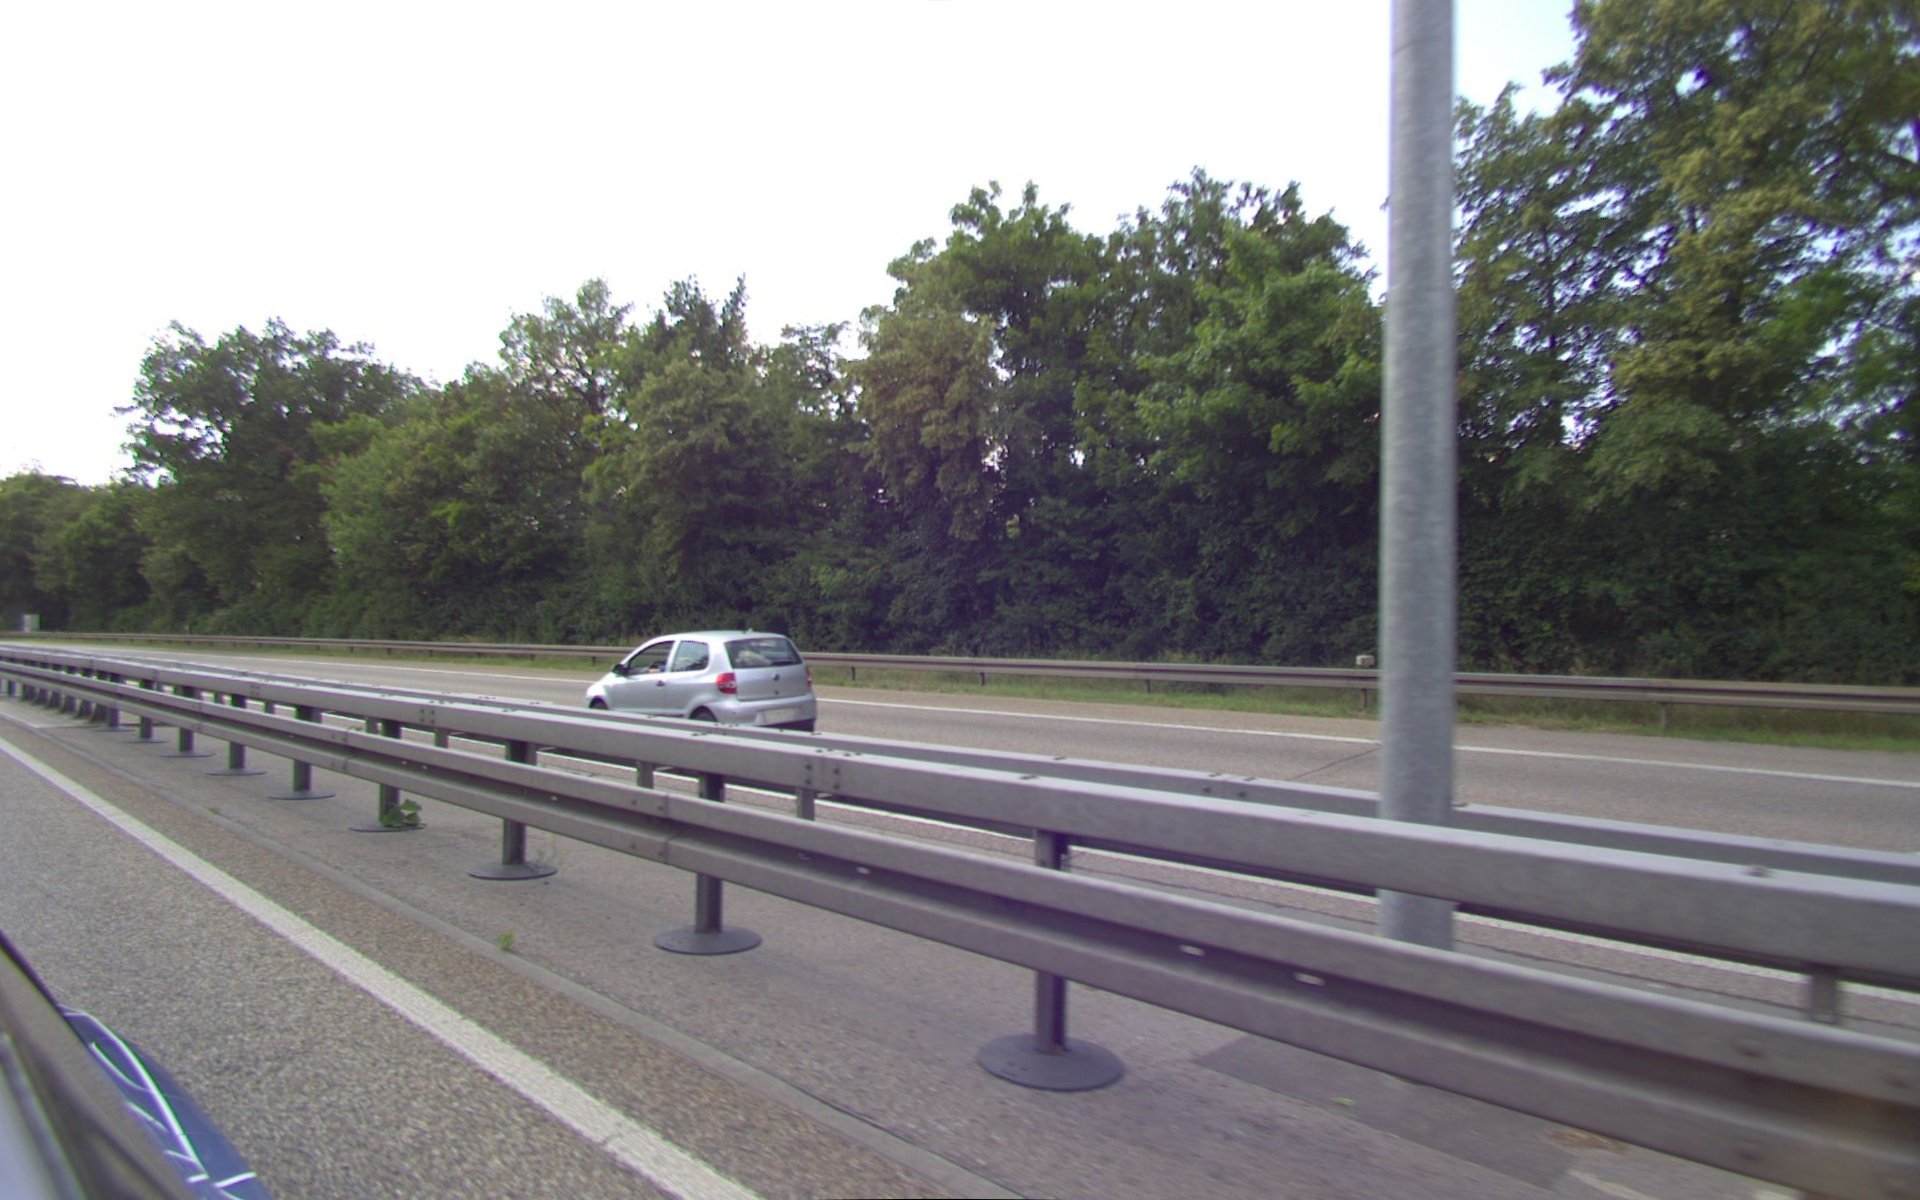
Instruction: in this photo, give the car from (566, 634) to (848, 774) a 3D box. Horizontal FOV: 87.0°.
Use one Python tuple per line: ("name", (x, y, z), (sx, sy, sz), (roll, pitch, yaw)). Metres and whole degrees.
("car", (-3.502, 1.260, 13.638), (4.029, 1.580, 1.688), (-1, -2, 41))
